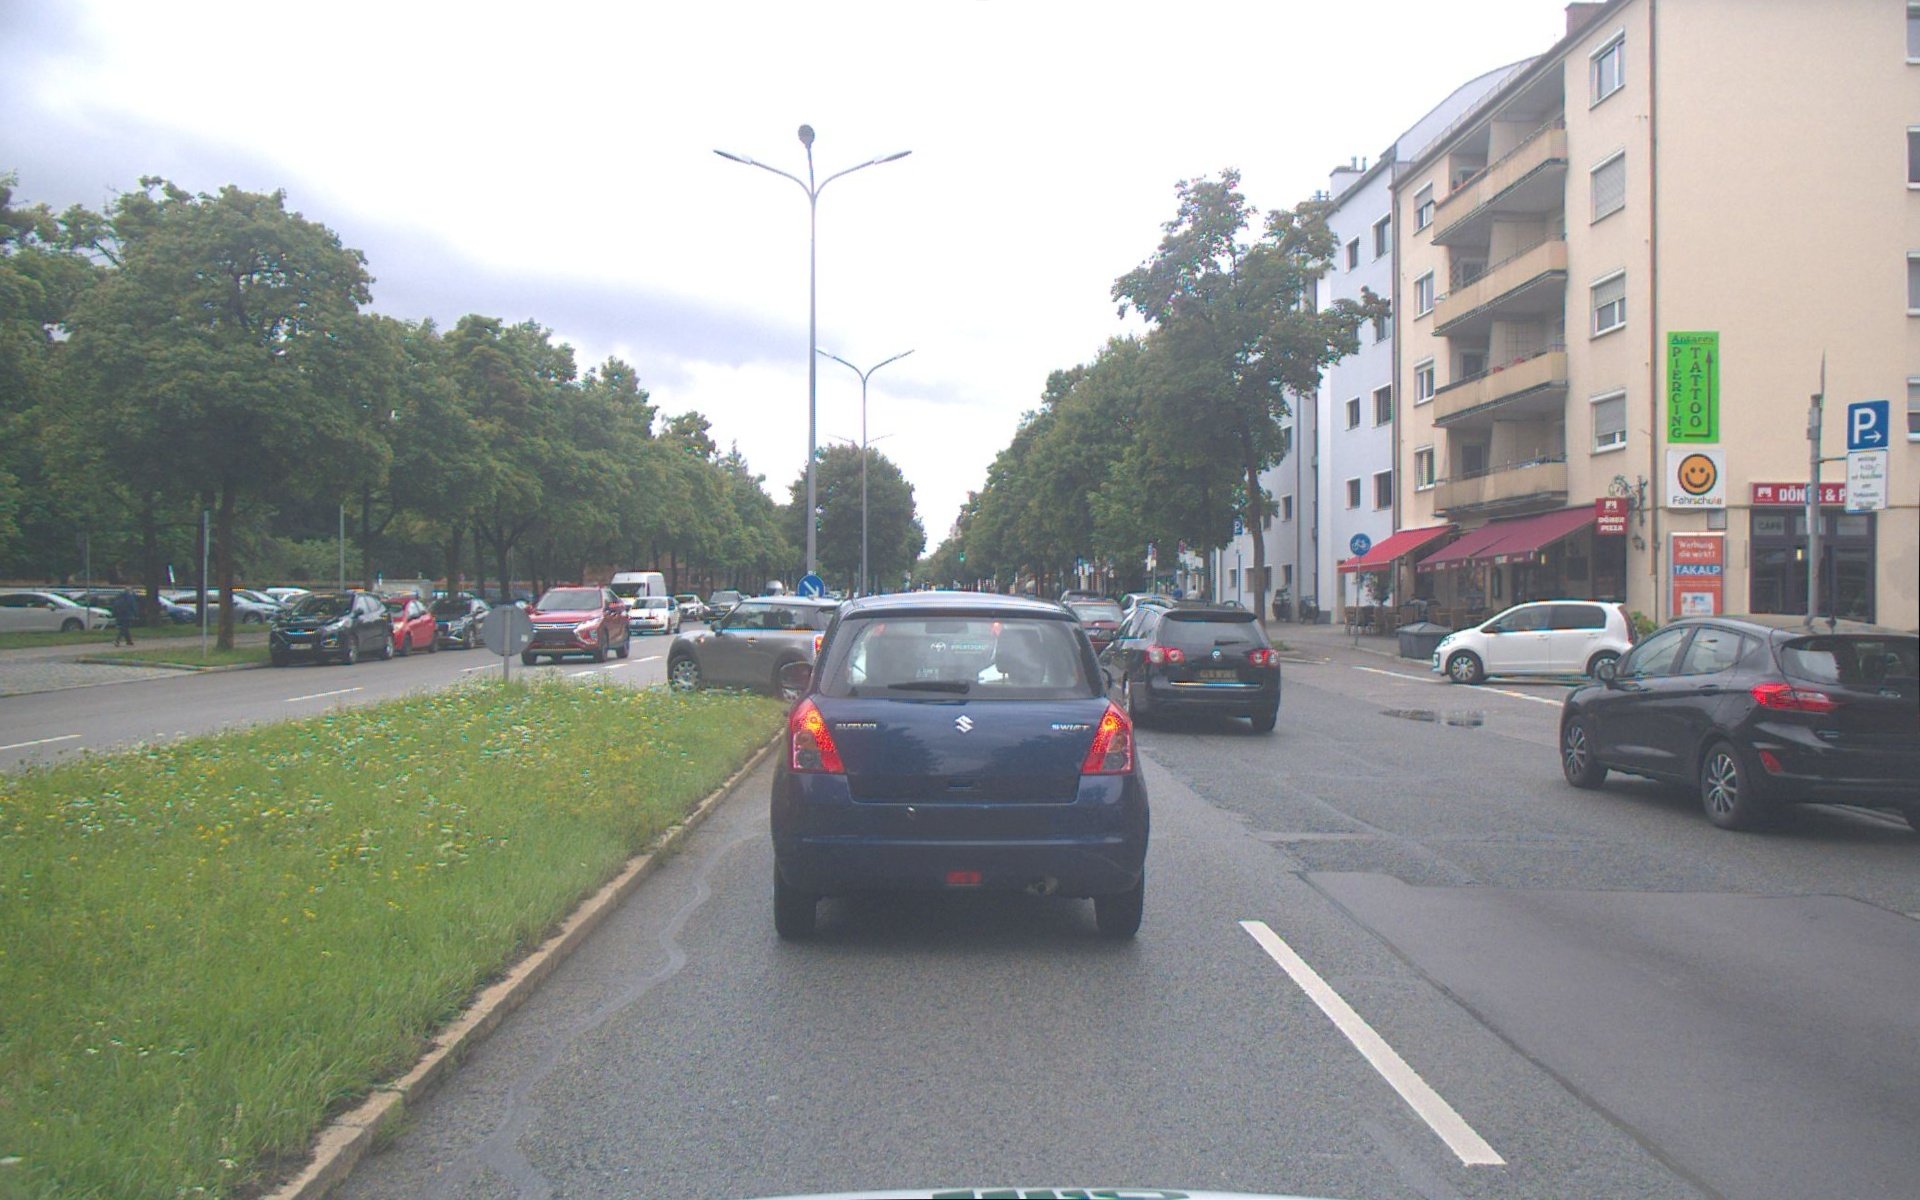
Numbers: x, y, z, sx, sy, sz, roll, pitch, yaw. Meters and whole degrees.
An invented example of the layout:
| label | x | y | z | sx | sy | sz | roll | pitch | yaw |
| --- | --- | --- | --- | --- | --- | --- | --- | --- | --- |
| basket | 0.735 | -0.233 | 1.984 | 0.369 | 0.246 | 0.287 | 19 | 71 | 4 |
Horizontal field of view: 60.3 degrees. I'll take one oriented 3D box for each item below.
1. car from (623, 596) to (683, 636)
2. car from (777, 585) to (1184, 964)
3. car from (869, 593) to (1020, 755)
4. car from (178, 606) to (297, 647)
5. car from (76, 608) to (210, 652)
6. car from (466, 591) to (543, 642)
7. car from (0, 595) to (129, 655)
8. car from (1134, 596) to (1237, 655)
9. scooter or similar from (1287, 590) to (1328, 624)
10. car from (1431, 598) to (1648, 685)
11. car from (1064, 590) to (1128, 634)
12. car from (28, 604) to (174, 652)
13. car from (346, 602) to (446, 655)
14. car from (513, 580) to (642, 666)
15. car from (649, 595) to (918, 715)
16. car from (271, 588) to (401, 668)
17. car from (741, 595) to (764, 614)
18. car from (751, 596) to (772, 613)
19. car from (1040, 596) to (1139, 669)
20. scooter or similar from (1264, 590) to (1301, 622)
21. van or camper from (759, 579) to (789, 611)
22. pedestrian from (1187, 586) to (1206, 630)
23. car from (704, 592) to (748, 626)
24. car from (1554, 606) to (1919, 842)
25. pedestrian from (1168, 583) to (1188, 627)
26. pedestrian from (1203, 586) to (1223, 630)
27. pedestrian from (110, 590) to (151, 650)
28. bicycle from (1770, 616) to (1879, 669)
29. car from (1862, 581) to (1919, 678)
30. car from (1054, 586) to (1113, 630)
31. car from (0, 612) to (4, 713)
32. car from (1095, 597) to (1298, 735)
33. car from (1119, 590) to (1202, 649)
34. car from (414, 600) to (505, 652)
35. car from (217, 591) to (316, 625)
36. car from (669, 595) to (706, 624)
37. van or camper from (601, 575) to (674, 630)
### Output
| label | x | y | z | sx | sy | sz | roll | pitch | yaw |
| --- | --- | --- | --- | --- | --- | --- | --- | --- | --- |
| car | -11.521 | 0.564 | 62.290 | 1.586 | 1.399 | 3.836 | -2 | 0 | -1 |
| car | 0.016 | 0.693 | 8.676 | 1.648 | 1.528 | 3.917 | 0 | 0 | -2 |
| car | -0.198 | 0.688 | 17.073 | 1.415 | 1.509 | 3.105 | 0 | 0 | -2 |
| car | -27.636 | 1.006 | 63.355 | 3.792 | 1.471 | 1.670 | 1 | 0 | -7 |
| car | -28.480 | 1.029 | 57.749 | 3.792 | 1.471 | 1.670 | 1 | 0 | -7 |
| car | -15.007 | 0.529 | 54.632 | 1.558 | 1.585 | 3.877 | 1 | 0 | -2 |
| car | -27.894 | 0.754 | 50.825 | 3.843 | 1.748 | 1.670 | 1 | 0 | -7 |
| car | 5.817 | 0.624 | 43.082 | 1.829 | 1.442 | 4.221 | -1 | 0 | -4 |
| scooter or similar | 13.839 | 0.266 | 65.950 | 1.011 | 1.330 | 2.755 | 0 | 0 | 0 |
| car | 10.332 | 0.706 | 29.482 | 3.478 | 1.442 | 1.870 | 0 | 0 | 26 |
| car | 4.977 | 0.428 | 61.103 | 1.828 | 1.544 | 4.222 | 0 | 0 | -3 |
| car | -27.688 | 0.898 | 53.423 | 3.792 | 1.471 | 1.670 | 1 | 0 | -7 |
| car | -15.009 | 0.735 | 44.167 | 1.558 | 1.335 | 3.379 | 1 | 0 | -2 |
| car | -8.427 | 0.462 | 36.800 | 1.865 | 1.726 | 4.244 | -2 | 0 | -1 |
| car | -2.475 | 0.682 | 22.678 | 3.668 | 1.488 | 1.677 | 1 | 0 | 42 |
| car | -14.713 | 0.635 | 39.184 | 1.682 | 1.771 | 3.877 | 1 | 0 | -2 |
| car | -18.695 | 0.415 | 149.105 | 1.599 | 1.610 | 3.877 | 1 | 0 | -2 |
| car | -19.037 | 0.401 | 158.924 | 1.599 | 1.610 | 3.877 | 1 | 0 | -2 |
| car | 2.677 | 0.638 | 34.887 | 1.648 | 1.408 | 3.918 | 1 | 0 | -1 |
| scooter or similar | 13.535 | 0.240 | 69.522 | 1.011 | 1.330 | 2.755 | 0 | 0 | 0 |
| van or camper | -19.903 | -0.517 | 177.173 | 2.509 | 3.353 | 6.935 | 1 | 0 | -2 |
| pedestrian | 11.162 | 0.370 | 78.092 | 0.778 | 2.049 | 1.006 | 0 | 0 | -1 |
| car | -12.179 | 0.443 | 86.284 | 1.730 | 1.651 | 4.505 | -2 | 0 | -1 |
| car | 6.018 | 0.822 | 12.572 | 1.584 | 1.491 | 3.673 | 2 | 0 | -1 |
| pedestrian | 10.294 | 0.227 | 78.137 | 0.778 | 2.049 | 1.006 | 0 | 0 | -1 |
| pedestrian | 11.972 | 0.381 | 78.241 | 0.778 | 2.049 | 1.006 | 0 | 0 | -1 |
| pedestrian | -21.864 | 0.514 | 43.604 | 0.712 | 1.561 | 0.721 | 1 | 0 | -1 |
| bicycle | 16.481 | 0.801 | 31.549 | 1.810 | 0.974 | 0.557 | 1 | 0 | -3 |
| car | 18.844 | 0.488 | 29.742 | 4.308 | 1.690 | 1.869 | -1 | 0 | -6 |
| car | 4.896 | 0.294 | 65.940 | 1.828 | 1.712 | 4.222 | 0 | 0 | -3 |
| car | -14.503 | 0.931 | 21.736 | 1.515 | 1.434 | 3.880 | -2 | 0 | 1 |
| car | 2.789 | 0.728 | 20.453 | 1.696 | 1.457 | 4.440 | 1 | 0 | -2 |
| car | 5.735 | 0.521 | 47.783 | 1.755 | 1.585 | 4.223 | 0 | 0 | -2 |
| car | -14.853 | 0.740 | 49.268 | 1.633 | 1.471 | 3.877 | 1 | 0 | -2 |
| car | -31.551 | 0.357 | 75.305 | 3.792 | 1.471 | 1.670 | 1 | 0 | -7 |
| car | -15.810 | 0.538 | 96.038 | 1.599 | 1.610 | 3.877 | 1 | 0 | -2 |
| van or camper | -15.622 | 0.108 | 80.515 | 2.073 | 2.525 | 7.448 | 1 | 0 | 0 |
